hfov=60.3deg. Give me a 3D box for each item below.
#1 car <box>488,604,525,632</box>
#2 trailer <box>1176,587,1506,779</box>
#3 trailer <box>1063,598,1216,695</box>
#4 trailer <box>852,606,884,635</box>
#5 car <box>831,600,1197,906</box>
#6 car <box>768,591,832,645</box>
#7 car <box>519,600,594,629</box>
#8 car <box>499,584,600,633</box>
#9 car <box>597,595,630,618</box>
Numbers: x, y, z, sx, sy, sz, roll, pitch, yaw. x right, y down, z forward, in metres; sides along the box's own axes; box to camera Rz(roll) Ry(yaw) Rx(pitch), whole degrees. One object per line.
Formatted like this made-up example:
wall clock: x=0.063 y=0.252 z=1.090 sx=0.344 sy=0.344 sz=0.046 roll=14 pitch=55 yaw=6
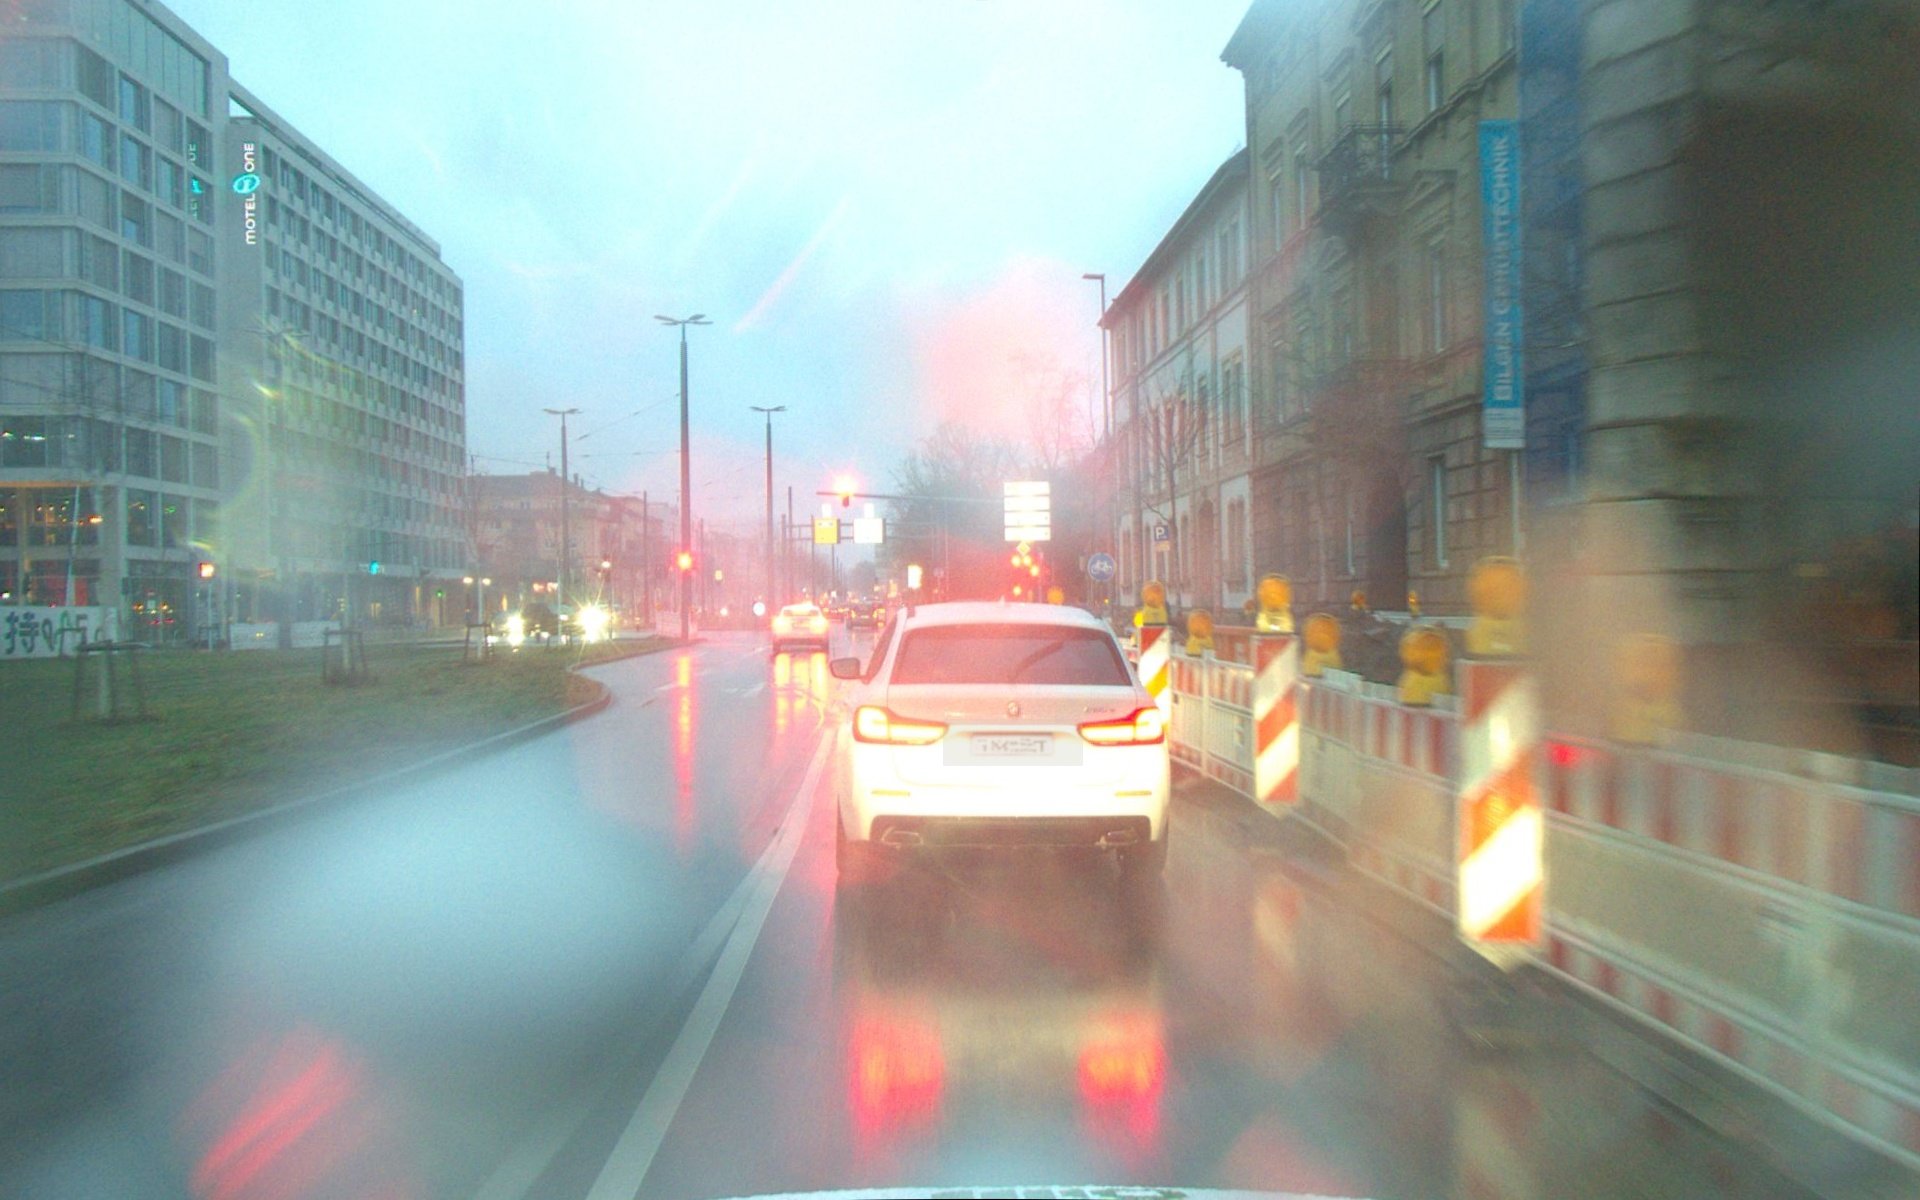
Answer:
car: x=-25.529 y=0.992 z=93.123 sx=1.708 sy=1.518 sz=3.533 roll=0 pitch=0 yaw=-11
trailer: x=3.394 y=0.651 z=15.755 sx=1.798 sy=1.516 sz=4.845 roll=-1 pitch=0 yaw=-3
trailer: x=2.720 y=0.670 z=25.779 sx=1.814 sy=1.369 sz=3.526 roll=-1 pitch=0 yaw=-3
trailer: x=-5.577 y=1.218 z=99.502 sx=1.798 sy=1.672 sz=3.996 roll=0 pitch=0 yaw=-5
car: x=0.126 y=0.748 z=10.633 sx=1.815 sy=1.491 sz=4.943 roll=0 pitch=0 yaw=-4
car: x=-5.113 y=0.564 z=53.303 sx=1.863 sy=1.670 sz=3.998 roll=0 pitch=0 yaw=-3
car: x=-20.963 y=0.739 z=85.994 sx=3.459 sy=1.518 sz=1.745 roll=0 pitch=0 yaw=22
car: x=-17.325 y=0.341 z=69.710 sx=3.931 sy=2.010 sz=1.987 roll=0 pitch=0 yaw=-22
car: x=-25.873 y=0.467 z=123.603 sx=1.527 sy=1.688 sz=3.397 roll=0 pitch=0 yaw=4
